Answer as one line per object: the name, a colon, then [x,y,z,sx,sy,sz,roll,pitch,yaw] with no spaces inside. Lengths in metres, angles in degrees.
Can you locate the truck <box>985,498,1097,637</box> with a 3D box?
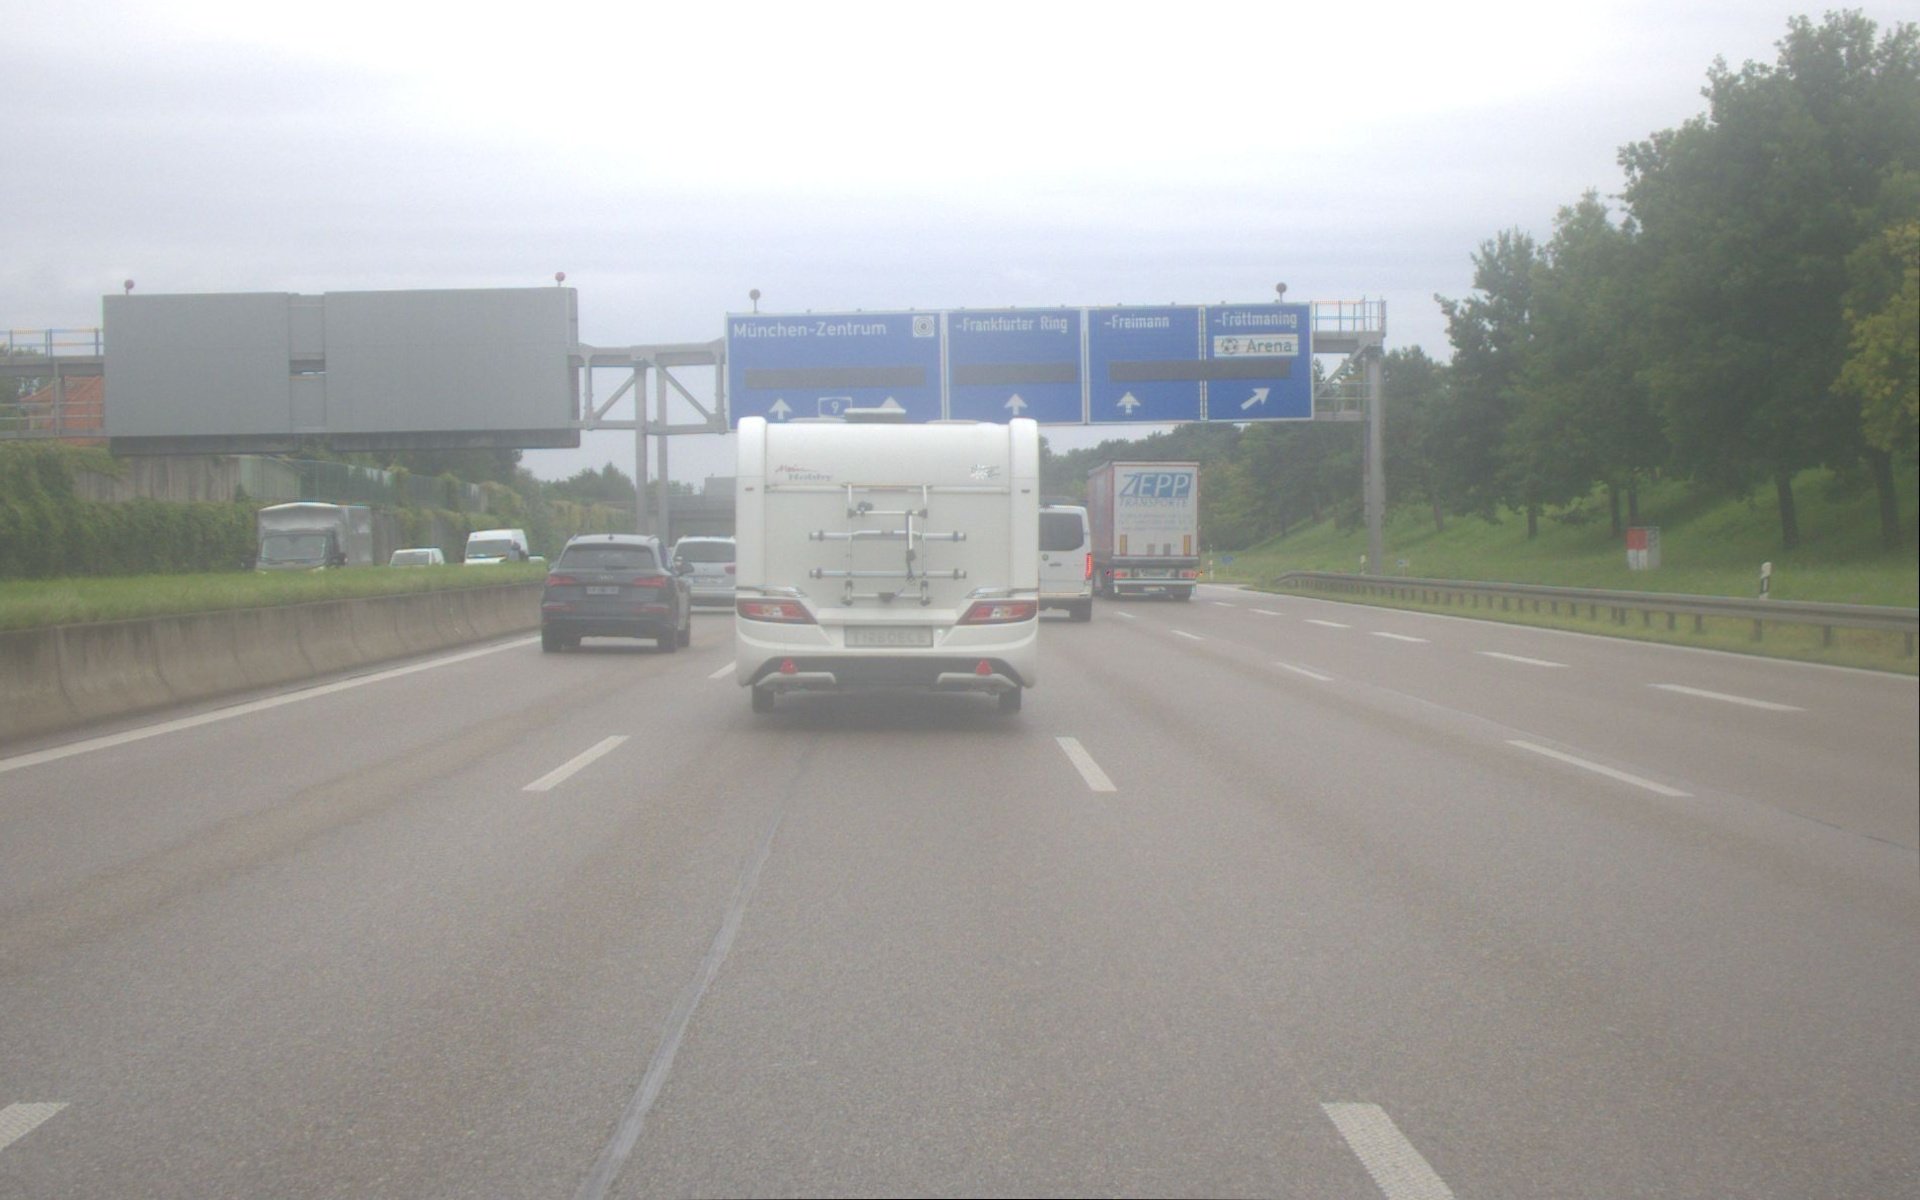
truck: [1.651,-0.675,71.982,2.053,2.760,5.549,1,1,-1]

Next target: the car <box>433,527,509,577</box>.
car: [-19.318,-1.893,136.047,2.127,1.905,6.534,1,1,0]

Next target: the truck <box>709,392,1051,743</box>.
truck: [-0.692,-0.285,29.730,2.661,2.733,5.078,1,1,-1]

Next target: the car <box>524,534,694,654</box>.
car: [-4.955,-0.113,49.173,1.993,1.594,5.124,1,1,-1]

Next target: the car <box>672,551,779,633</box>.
car: [-5.192,-0.198,76.547,2.127,1.700,4.113,2,0,-1]

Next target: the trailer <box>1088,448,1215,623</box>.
trailer: [5.632,-1.884,102.949,3.100,4.905,11.790,1,1,0]

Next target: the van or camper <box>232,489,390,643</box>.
van or camper: [-17.422,-0.923,92.812,2.708,3.935,8.402,1,1,-1]

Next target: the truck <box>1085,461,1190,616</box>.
truck: [5.654,-1.950,110.398,3.048,4.823,5.850,1,0,0]
